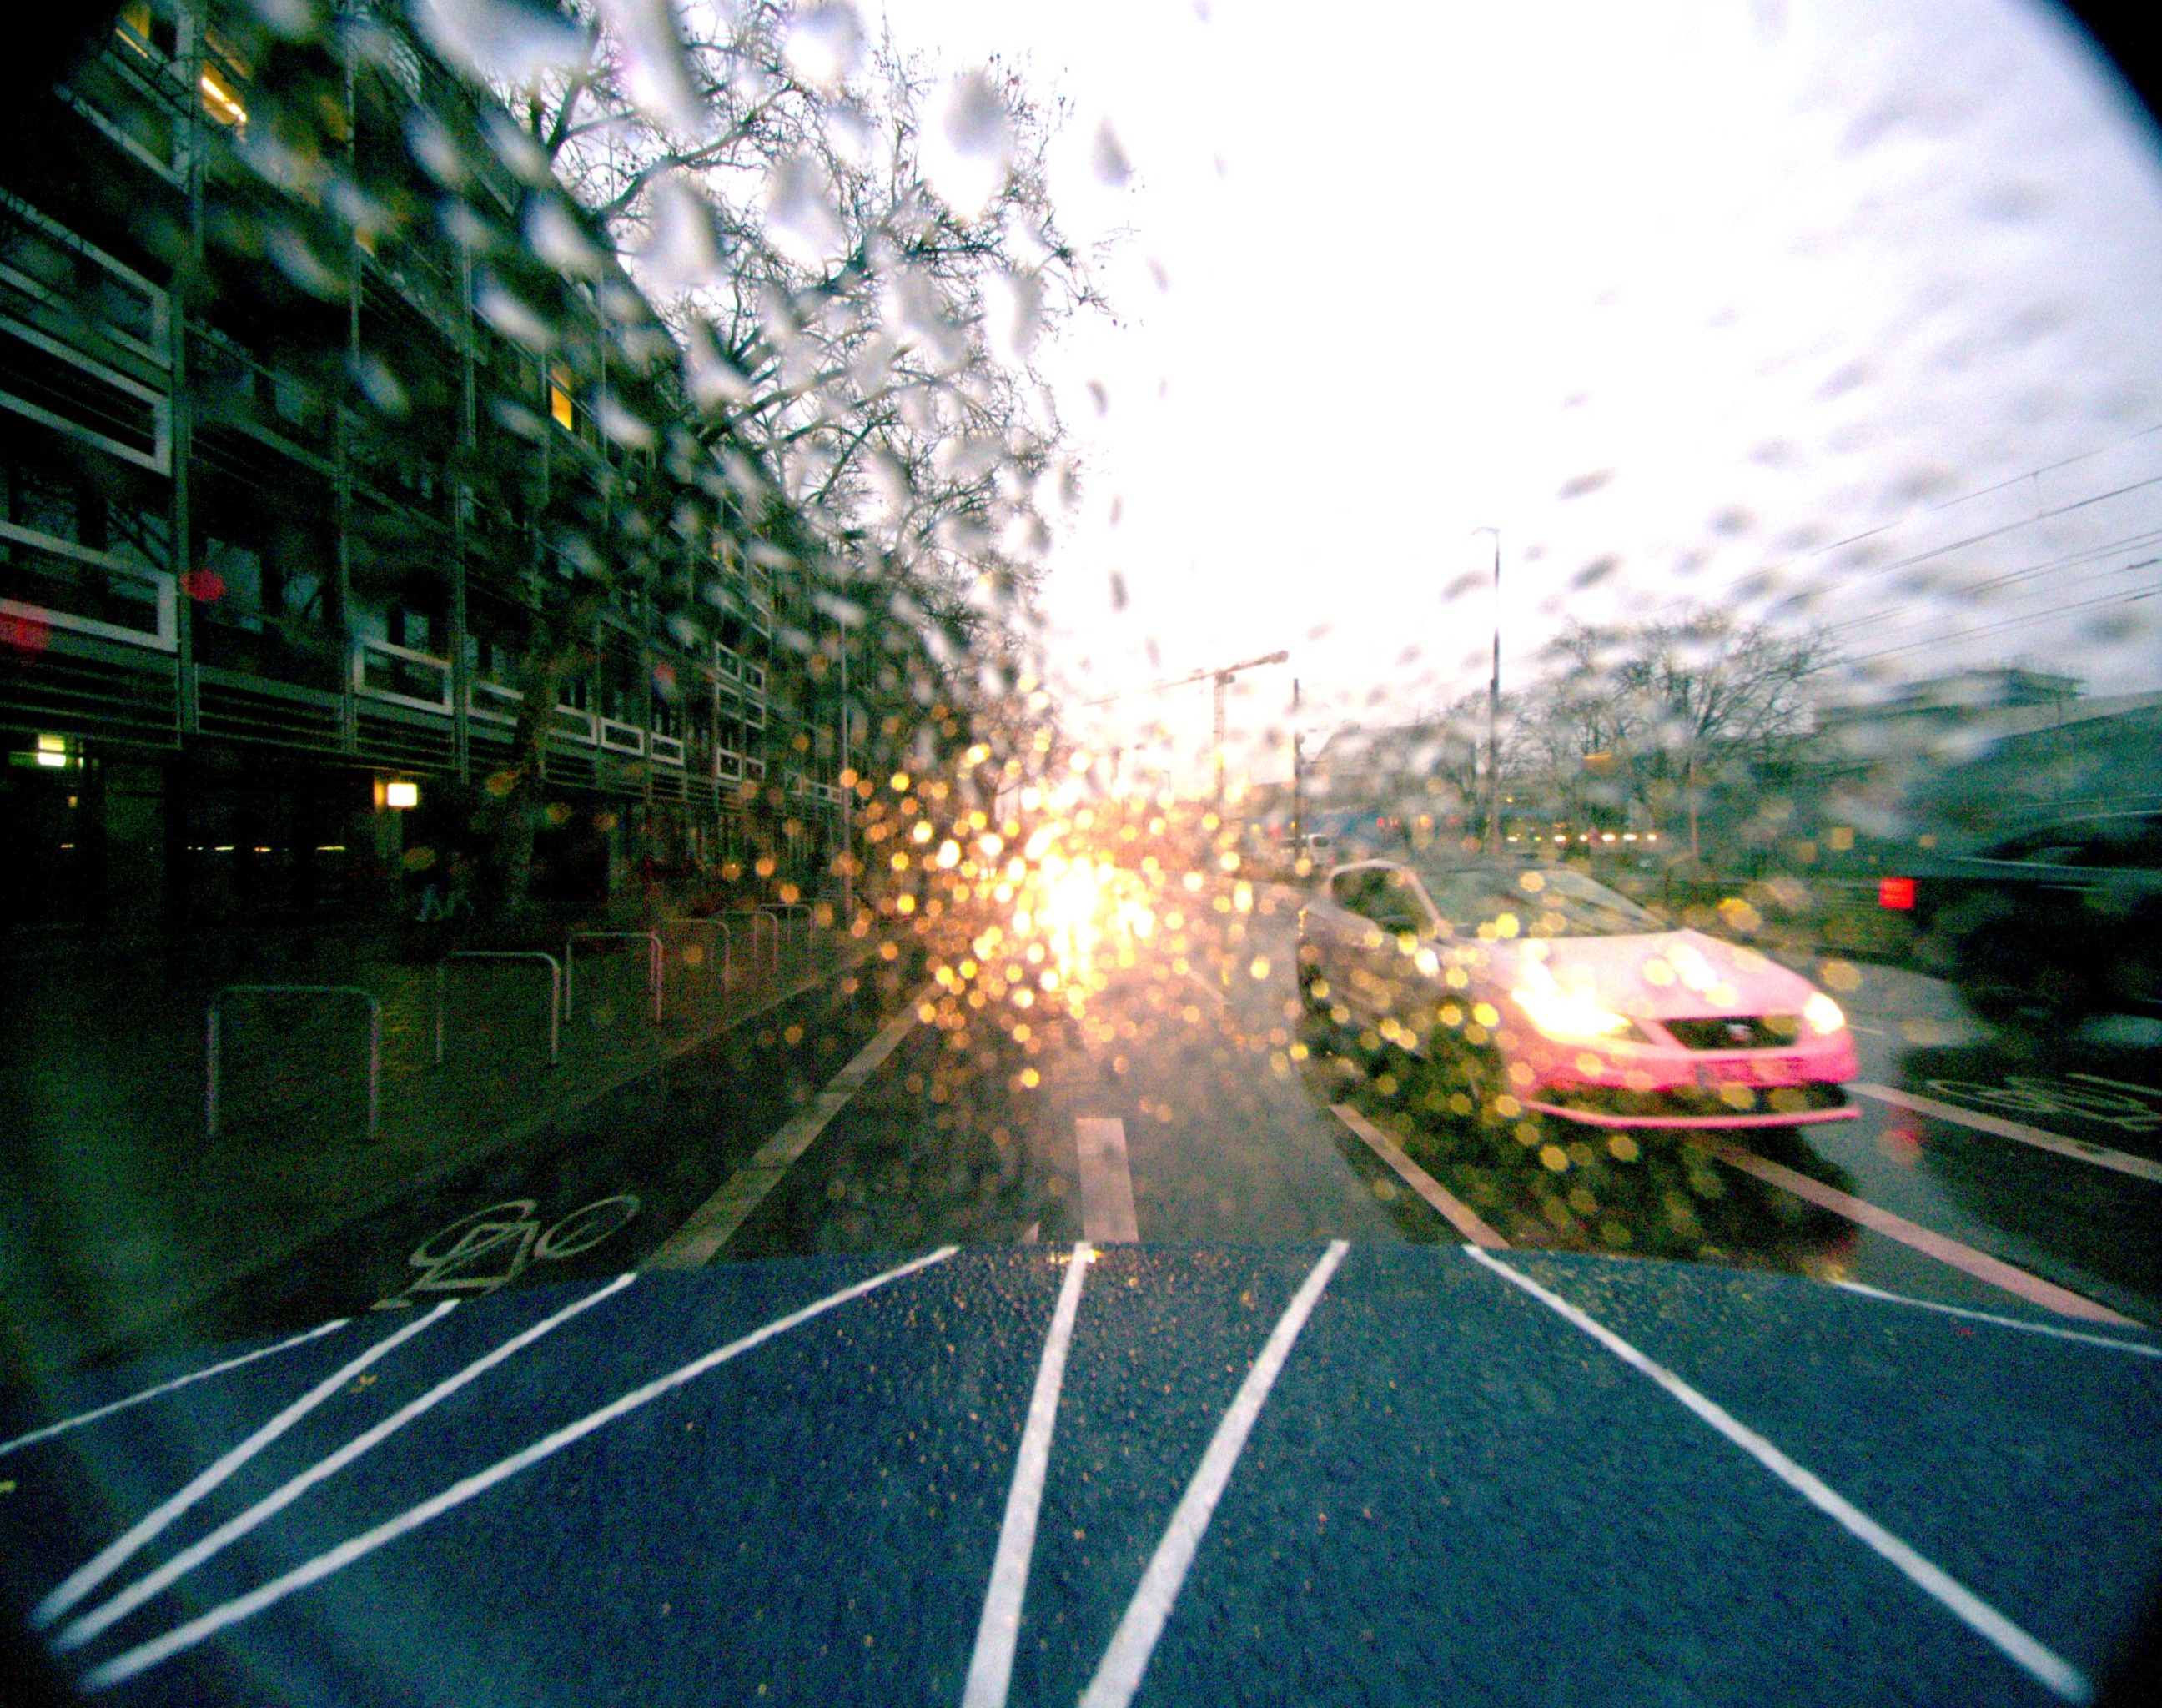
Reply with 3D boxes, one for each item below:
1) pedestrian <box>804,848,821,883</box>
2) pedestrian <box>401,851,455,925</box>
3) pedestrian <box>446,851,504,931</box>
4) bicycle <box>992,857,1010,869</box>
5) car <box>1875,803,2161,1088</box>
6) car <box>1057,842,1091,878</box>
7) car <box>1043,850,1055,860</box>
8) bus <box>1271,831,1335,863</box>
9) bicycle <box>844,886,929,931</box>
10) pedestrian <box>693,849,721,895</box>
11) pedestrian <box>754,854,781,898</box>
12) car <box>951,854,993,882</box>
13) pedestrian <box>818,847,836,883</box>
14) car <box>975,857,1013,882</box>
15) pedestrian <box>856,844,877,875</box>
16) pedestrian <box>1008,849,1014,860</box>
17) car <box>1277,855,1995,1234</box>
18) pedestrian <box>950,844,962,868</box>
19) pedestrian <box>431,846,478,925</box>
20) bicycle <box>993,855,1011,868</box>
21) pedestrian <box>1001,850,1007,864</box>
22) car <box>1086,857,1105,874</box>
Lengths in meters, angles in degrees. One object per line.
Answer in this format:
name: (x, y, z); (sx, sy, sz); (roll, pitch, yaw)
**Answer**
pedestrian: (-12.944, 0.548, 36.613); (0.642, 1.645, 0.841); (-1, 1, -26)
pedestrian: (-13.994, 0.706, 16.294); (0.484, 1.555, 0.745); (-1, 1, -1)
pedestrian: (-12.953, 0.774, 16.274); (0.501, 1.658, 0.873); (0, 1, 1)
bicycle: (-7.173, 0.825, 68.148); (1.523, 1.030, 0.469); (-2, 2, -7)
car: (7.434, 0.555, 3.958); (1.707, 1.733, 4.611); (-1, 1, -1)
car: (-0.365, 0.338, 44.905); (1.858, 2.002, 4.000); (-1, 0, 1)
car: (-6.692, 0.202, 158.375); (2.000, 2.002, 3.996); (-2, 1, -9)
bus: (26.010, -0.802, 89.822); (2.815, 3.557, 12.298); (-1, 0, -6)
bicycle: (-4.440, 1.247, 17.437); (1.792, 0.968, 0.617); (1, 1, -4)
pedestrian: (-13.640, 0.633, 27.706); (0.617, 1.647, 0.780); (-1, 1, 1)
pedestrian: (-10.877, 0.756, 26.405); (0.649, 1.535, 0.615); (-1, 1, 1)
car: (-6.149, 0.784, 43.206); (1.608, 1.424, 3.930); (2, 1, 2)
pedestrian: (-12.438, 0.520, 37.195); (0.661, 1.708, 0.841); (-1, 1, -28)
car: (-5.825, 1.026, 51.120); (1.998, 1.477, 3.999); (-2, 1, 1)
pedestrian: (-10.830, 0.271, 38.367); (0.866, 1.515, 0.837); (-1, 1, -2)
pedestrian: (-12.634, 0.131, 137.421); (0.838, 2.002, 0.771); (-2, 2, 0)
car: (2.846, 0.783, 5.198); (1.778, 1.466, 4.128); (-2, 1, -2)
pedestrian: (-10.621, 0.139, 64.584); (0.791, 2.002, 1.024); (-1, 1, 0)
pedestrian: (-13.457, 0.664, 16.328); (0.379, 1.658, 0.713); (0, 1, 1)
bicycle: (-6.971, 0.640, 66.772); (1.523, 1.030, 0.469); (-2, 2, -7)
pedestrian: (-11.810, 0.467, 116.162); (0.838, 2.002, 0.771); (-2, 2, 0)
car: (1.420, 1.175, 75.892); (1.858, 1.591, 4.001); (-1, -1, 1)
